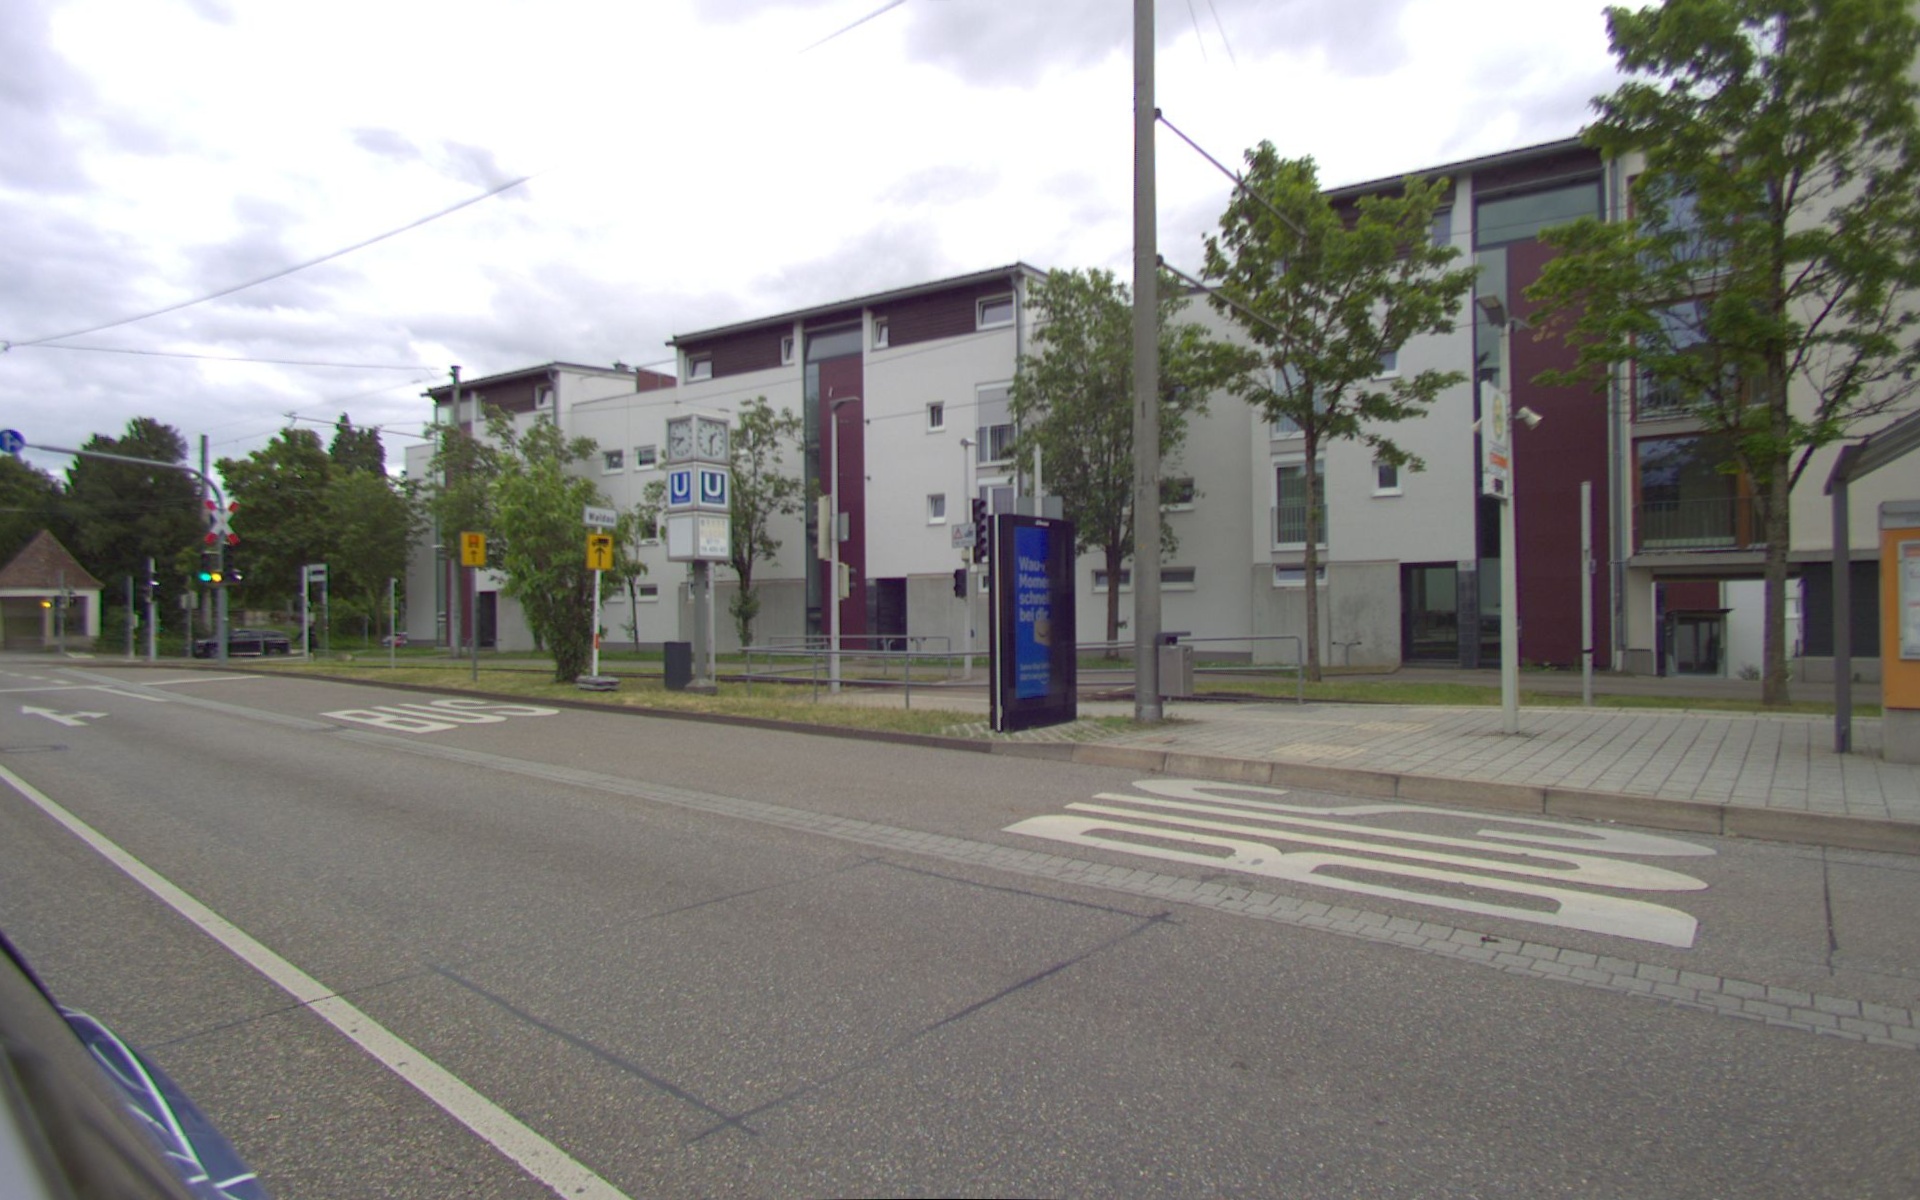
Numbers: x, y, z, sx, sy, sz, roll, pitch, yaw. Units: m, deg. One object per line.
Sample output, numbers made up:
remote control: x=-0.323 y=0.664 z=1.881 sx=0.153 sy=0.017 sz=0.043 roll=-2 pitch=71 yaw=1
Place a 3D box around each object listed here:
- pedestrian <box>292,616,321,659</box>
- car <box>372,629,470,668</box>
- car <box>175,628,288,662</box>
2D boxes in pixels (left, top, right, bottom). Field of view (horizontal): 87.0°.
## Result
pedestrian: x=-25.408 y=1.466 z=39.352 sx=0.817 sy=1.657 sz=0.669 roll=-3 pitch=-4 yaw=34
car: x=-30.569 y=2.765 z=57.524 sx=1.994 sy=2.029 sz=4.419 roll=-1 pitch=-5 yaw=33
car: x=-38.850 y=2.449 z=54.046 sx=1.960 sy=1.682 sz=4.439 roll=-1 pitch=-4 yaw=32
